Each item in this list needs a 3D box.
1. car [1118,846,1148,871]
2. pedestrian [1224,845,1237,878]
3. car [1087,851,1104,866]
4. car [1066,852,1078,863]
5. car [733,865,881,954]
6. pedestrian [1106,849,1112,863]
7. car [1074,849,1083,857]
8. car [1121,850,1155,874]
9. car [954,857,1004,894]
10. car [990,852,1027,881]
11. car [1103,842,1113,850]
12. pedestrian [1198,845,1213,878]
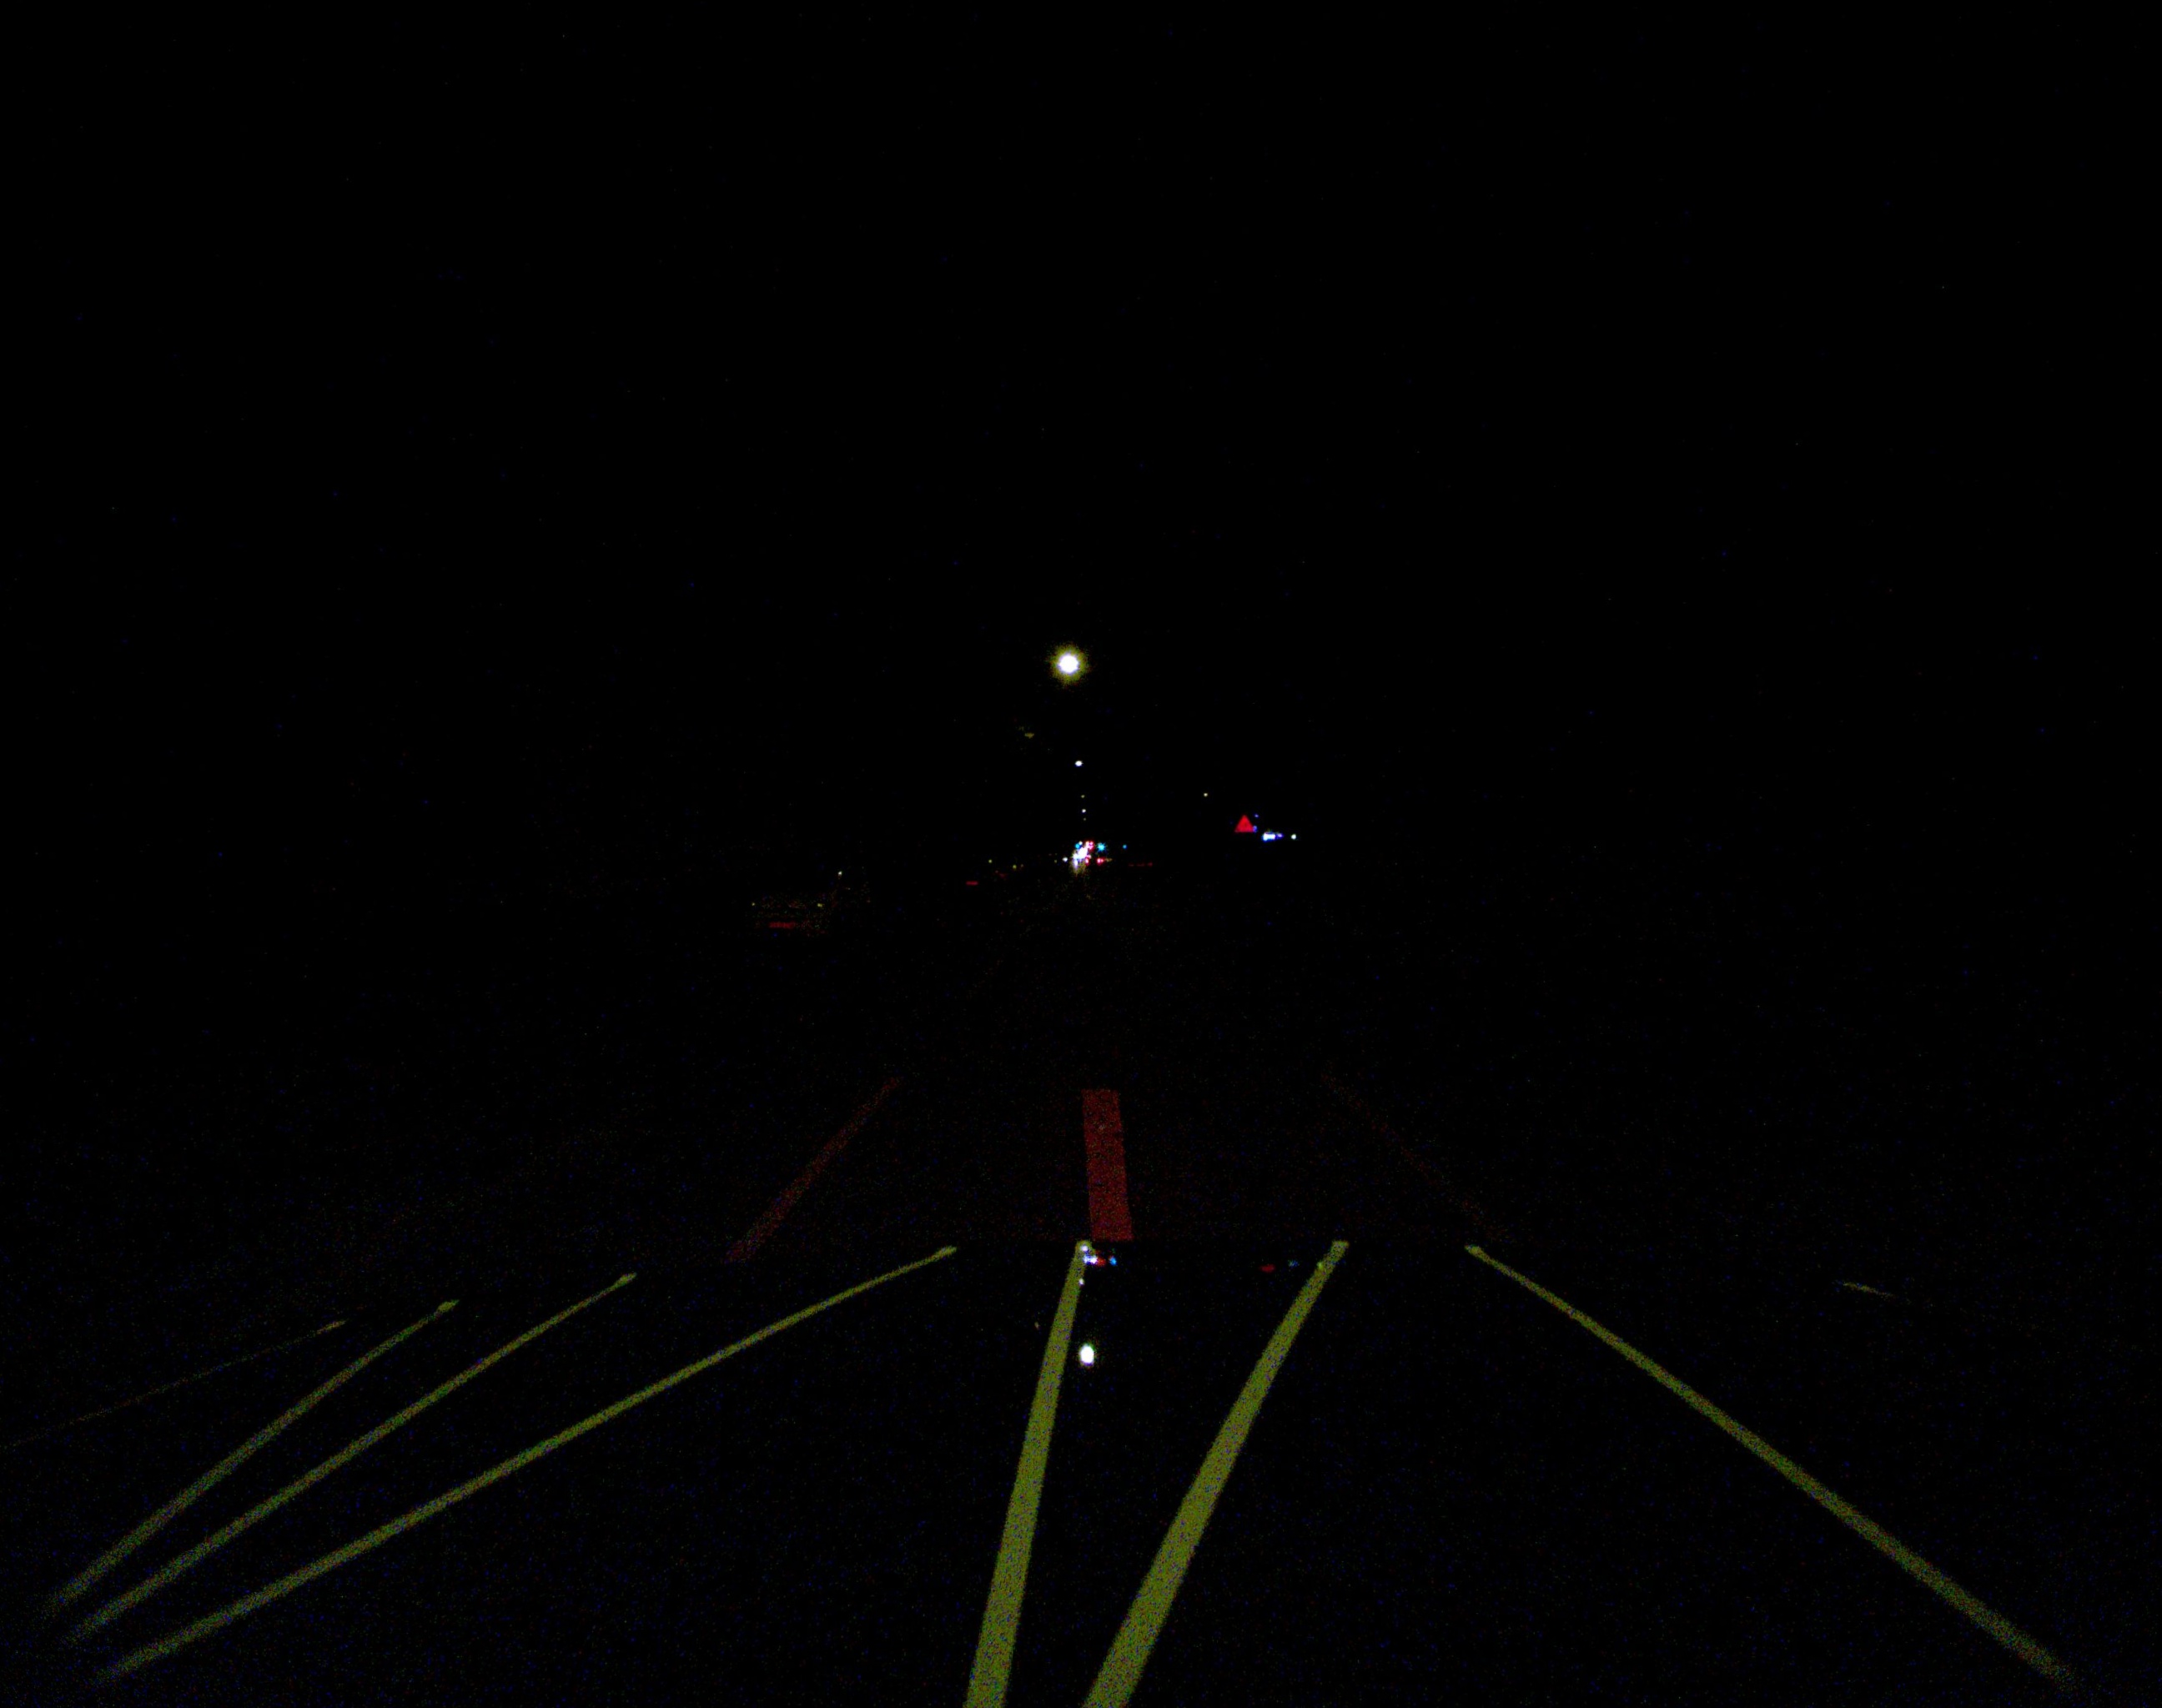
[{"bbox_3d":[3.895,0.291,57.261,1.998,1.772,3.999,-2,1,1],"label":"car"},{"bbox_3d":[7.895,0.388,40.163,0.565,1.750,0.500,-2,1,1],"label":"pedestrian"},{"bbox_3d":[1.602,0.520,84.303,1.754,1.433,3.487,-2,-2,1],"label":"car"},{"bbox_3d":[-1.569,0.629,134.791,1.998,1.718,3.803,-2,1,1],"label":"car"},{"bbox_3d":[-5.261,1.006,15.047,1.611,1.500,3.486,0,0,1],"label":"car"},{"bbox_3d":[4.397,0.307,118.340,0.804,2.002,0.940,-2,1,1],"label":"pedestrian"},{"bbox_3d":[-0.583,-0.225,174.545,1.998,1.740,3.999,-2,1,1],"label":"car"},{"bbox_3d":[3.880,0.514,52.082,1.998,1.477,3.999,-3,1,1],"label":"car"},{"bbox_3d":[-4.477,0.904,33.947,1.742,1.489,3.890,-1,0,-1],"label":"car"},{"bbox_3d":[-4.470,0.750,47.480,1.852,1.643,4.179,-2,0,0],"label":"car"},{"bbox_3d":[5.525,-1.560,153.802,1.903,1.581,3.661,-2,1,2],"label":"car"},{"bbox_3d":[6.594,0.388,40.361,0.673,1.750,0.500,-2,1,1],"label":"pedestrian"}]
